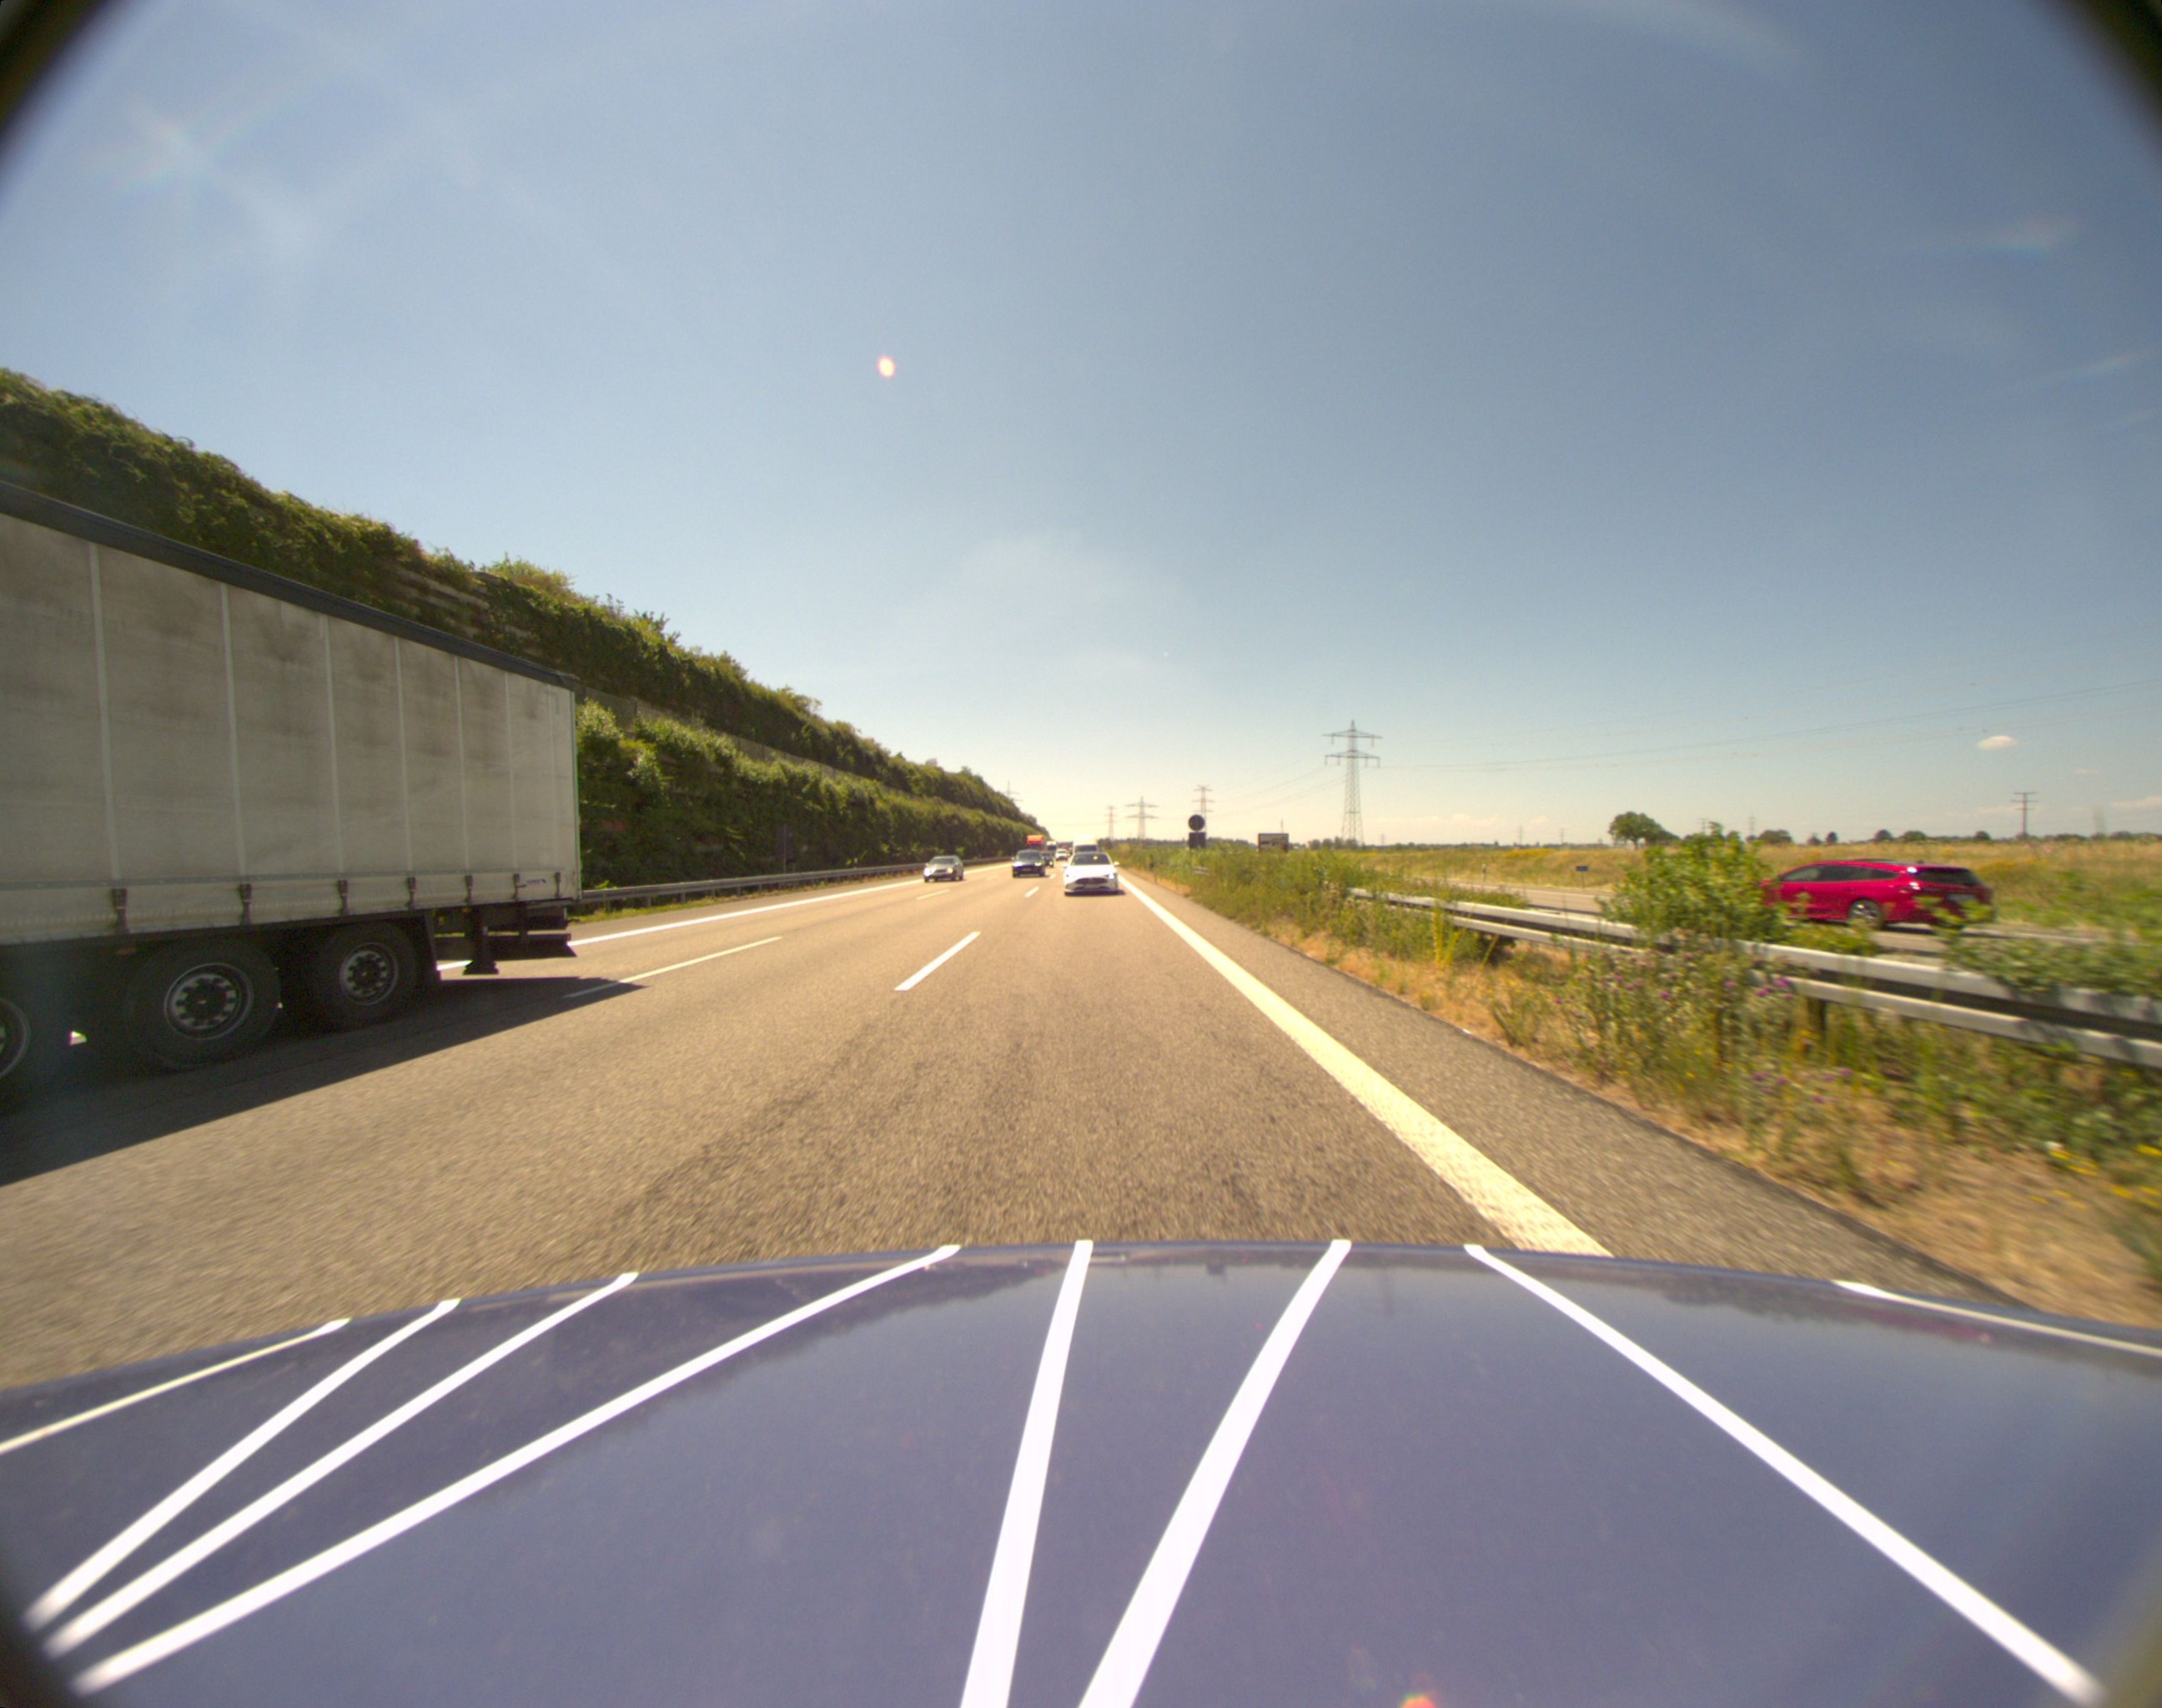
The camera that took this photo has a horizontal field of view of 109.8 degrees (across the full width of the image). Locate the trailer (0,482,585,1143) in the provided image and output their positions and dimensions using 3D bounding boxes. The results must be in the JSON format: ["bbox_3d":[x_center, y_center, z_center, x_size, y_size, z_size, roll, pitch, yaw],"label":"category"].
[{"bbox_3d":[-8.042,-0.232,3.512,2.735,4.079,13.187,-1,1,0],"label":"trailer"}]

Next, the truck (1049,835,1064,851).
[{"bbox_3d":[-6.083,-2.759,186.982,3.507,3.891,9.645,0,1,-1],"label":"truck"}]

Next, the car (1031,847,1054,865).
[{"bbox_3d":[-3.618,0.173,72.269,1.984,1.671,4.558,-1,1,0],"label":"car"}]

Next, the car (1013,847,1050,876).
[{"bbox_3d":[-3.013,0.423,47.453,1.984,1.671,4.558,-1,1,0],"label":"car"}]

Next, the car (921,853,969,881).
[{"bbox_3d":[-7.708,0.710,43.421,1.840,1.403,4.558,-2,1,0],"label":"car"}]

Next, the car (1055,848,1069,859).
[{"bbox_3d":[-2.827,-0.106,115.356,1.984,1.525,4.137,0,1,0],"label":"car"}]

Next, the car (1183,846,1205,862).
[{"bbox_3d":[14.466,-0.049,97.450,2.002,1.975,5.838,-1,1,0],"label":"car"}]

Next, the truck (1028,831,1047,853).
[{"bbox_3d":[-6.918,-1.915,121.217,2.581,3.205,5.712,-2,1,0],"label":"truck"}]

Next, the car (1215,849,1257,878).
[{"bbox_3d":[10.213,0.579,50.429,1.923,1.769,4.412,-1,1,1],"label":"car"}]

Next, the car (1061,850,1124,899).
[{"bbox_3d":[0.382,0.646,27.061,1.984,1.525,4.558,-2,1,0],"label":"car"}]

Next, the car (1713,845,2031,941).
[{"bbox_3d":[17.088,0.719,16.916,1.923,1.769,4.978,-1,1,1],"label":"car"}]

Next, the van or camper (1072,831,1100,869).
[{"bbox_3d":[0.457,-0.332,59.982,1.998,2.741,5.410,-2,1,2],"label":"van or camper"}]

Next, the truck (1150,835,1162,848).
[{"bbox_3d":[23.727,-4.071,242.103,3.214,4.060,9.648,0,1,2],"label":"truck"}]

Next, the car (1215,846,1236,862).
[{"bbox_3d":[18.608,-0.050,98.090,1.900,1.967,3.986,-1,1,0],"label":"car"}]
